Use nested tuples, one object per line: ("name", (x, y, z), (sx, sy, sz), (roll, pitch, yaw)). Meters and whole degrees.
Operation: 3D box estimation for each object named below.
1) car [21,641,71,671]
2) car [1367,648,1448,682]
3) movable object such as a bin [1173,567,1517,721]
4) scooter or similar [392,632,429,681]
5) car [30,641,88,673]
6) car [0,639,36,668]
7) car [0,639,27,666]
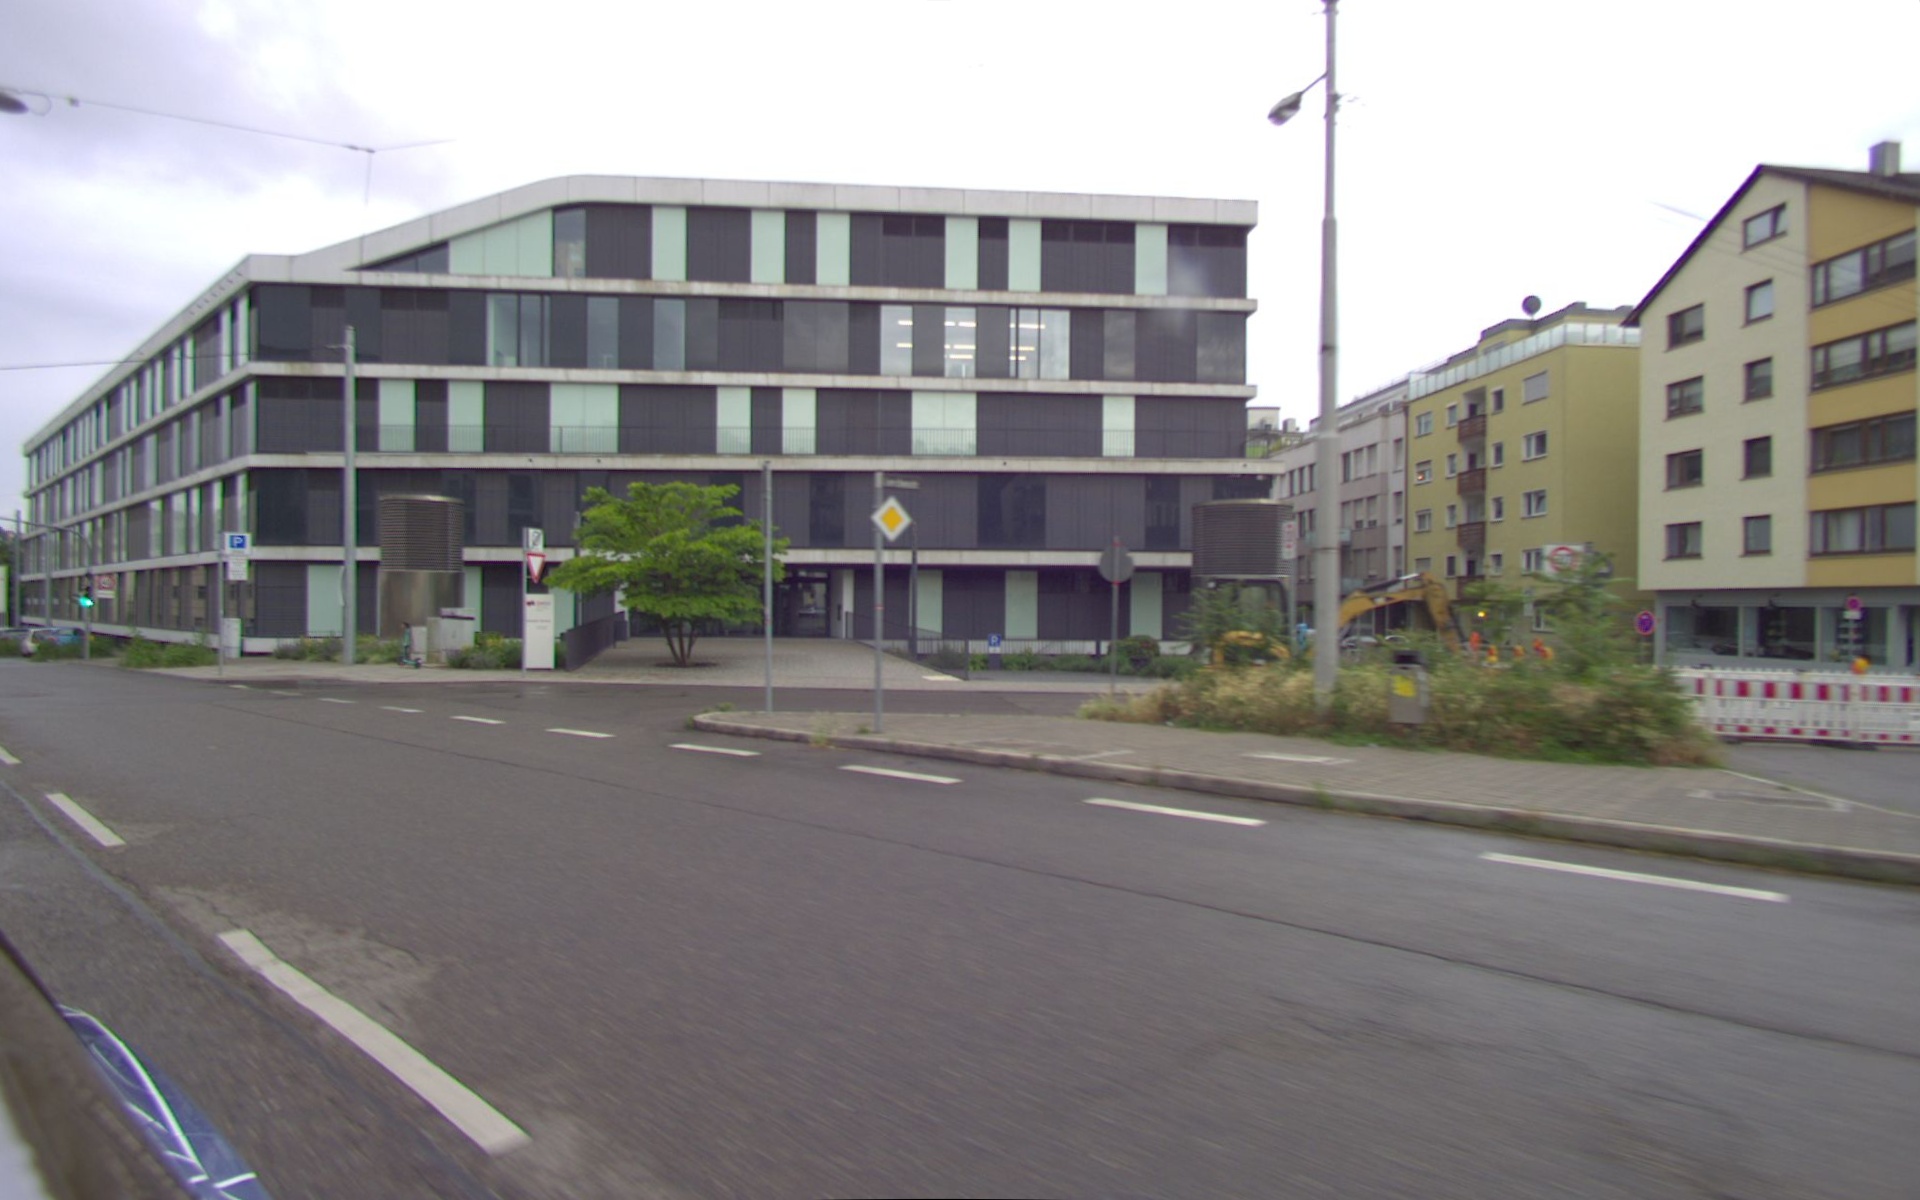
("car", (-47.431, 2.877, 52.516), (3.583, 1.478, 1.619), (-3, -2, 43))
("car", (21.372, 3.101, 48.482), (1.773, 1.522, 4.004), (0, -3, -5))
("movable object such as a bin", (6.505, 0.762, 17.538), (5.218, 2.478, 1.670), (-1, -2, 2))
("scooter or similar", (-14.848, 1.513, 27.315), (1.231, 1.258, 0.491), (-2, -1, 43))
("car", (-43.852, 2.755, 49.251), (3.581, 1.478, 1.621), (-2, -2, 40))
("car", (-55.769, 3.144, 59.462), (4.363, 1.601, 1.861), (-3, 0, 44))
("car", (-60.407, 3.303, 63.886), (4.361, 1.601, 1.811), (-3, 0, 42))
